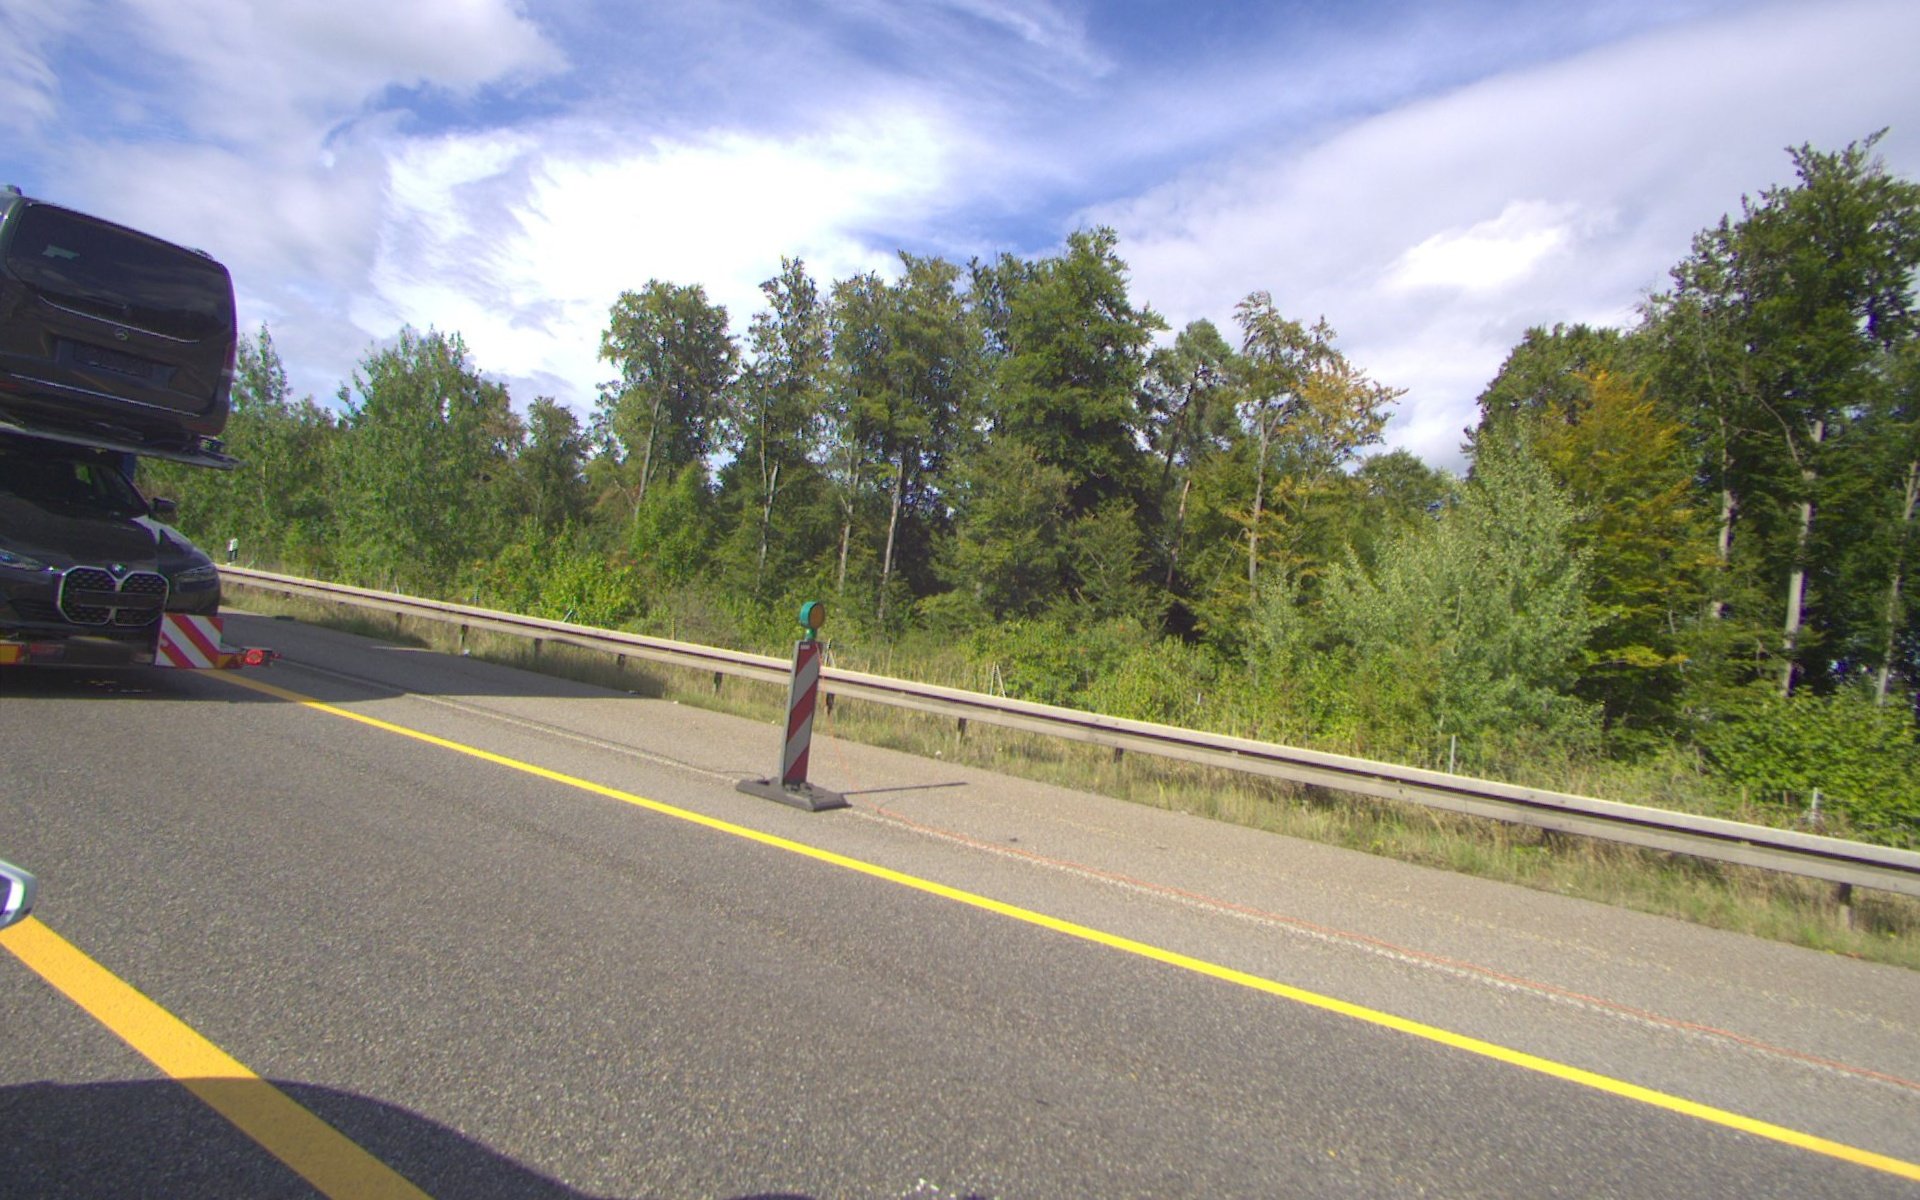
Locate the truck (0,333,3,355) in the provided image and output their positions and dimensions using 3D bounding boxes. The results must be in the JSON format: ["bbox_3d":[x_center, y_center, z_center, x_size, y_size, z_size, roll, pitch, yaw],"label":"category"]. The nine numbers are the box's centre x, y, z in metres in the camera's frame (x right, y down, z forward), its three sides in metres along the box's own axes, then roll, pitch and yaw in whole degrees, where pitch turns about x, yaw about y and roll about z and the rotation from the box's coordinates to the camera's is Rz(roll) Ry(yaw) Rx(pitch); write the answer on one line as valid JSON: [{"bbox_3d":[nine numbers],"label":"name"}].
[{"bbox_3d":[-19.726,-2.660,16.255,7.816,4.245,3.770,6,-1,30],"label":"truck"}]

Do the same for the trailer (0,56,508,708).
[{"bbox_3d":[-12.415,-1.978,12.082,15.951,4.245,3.734,6,-1,30],"label":"trailer"}]
